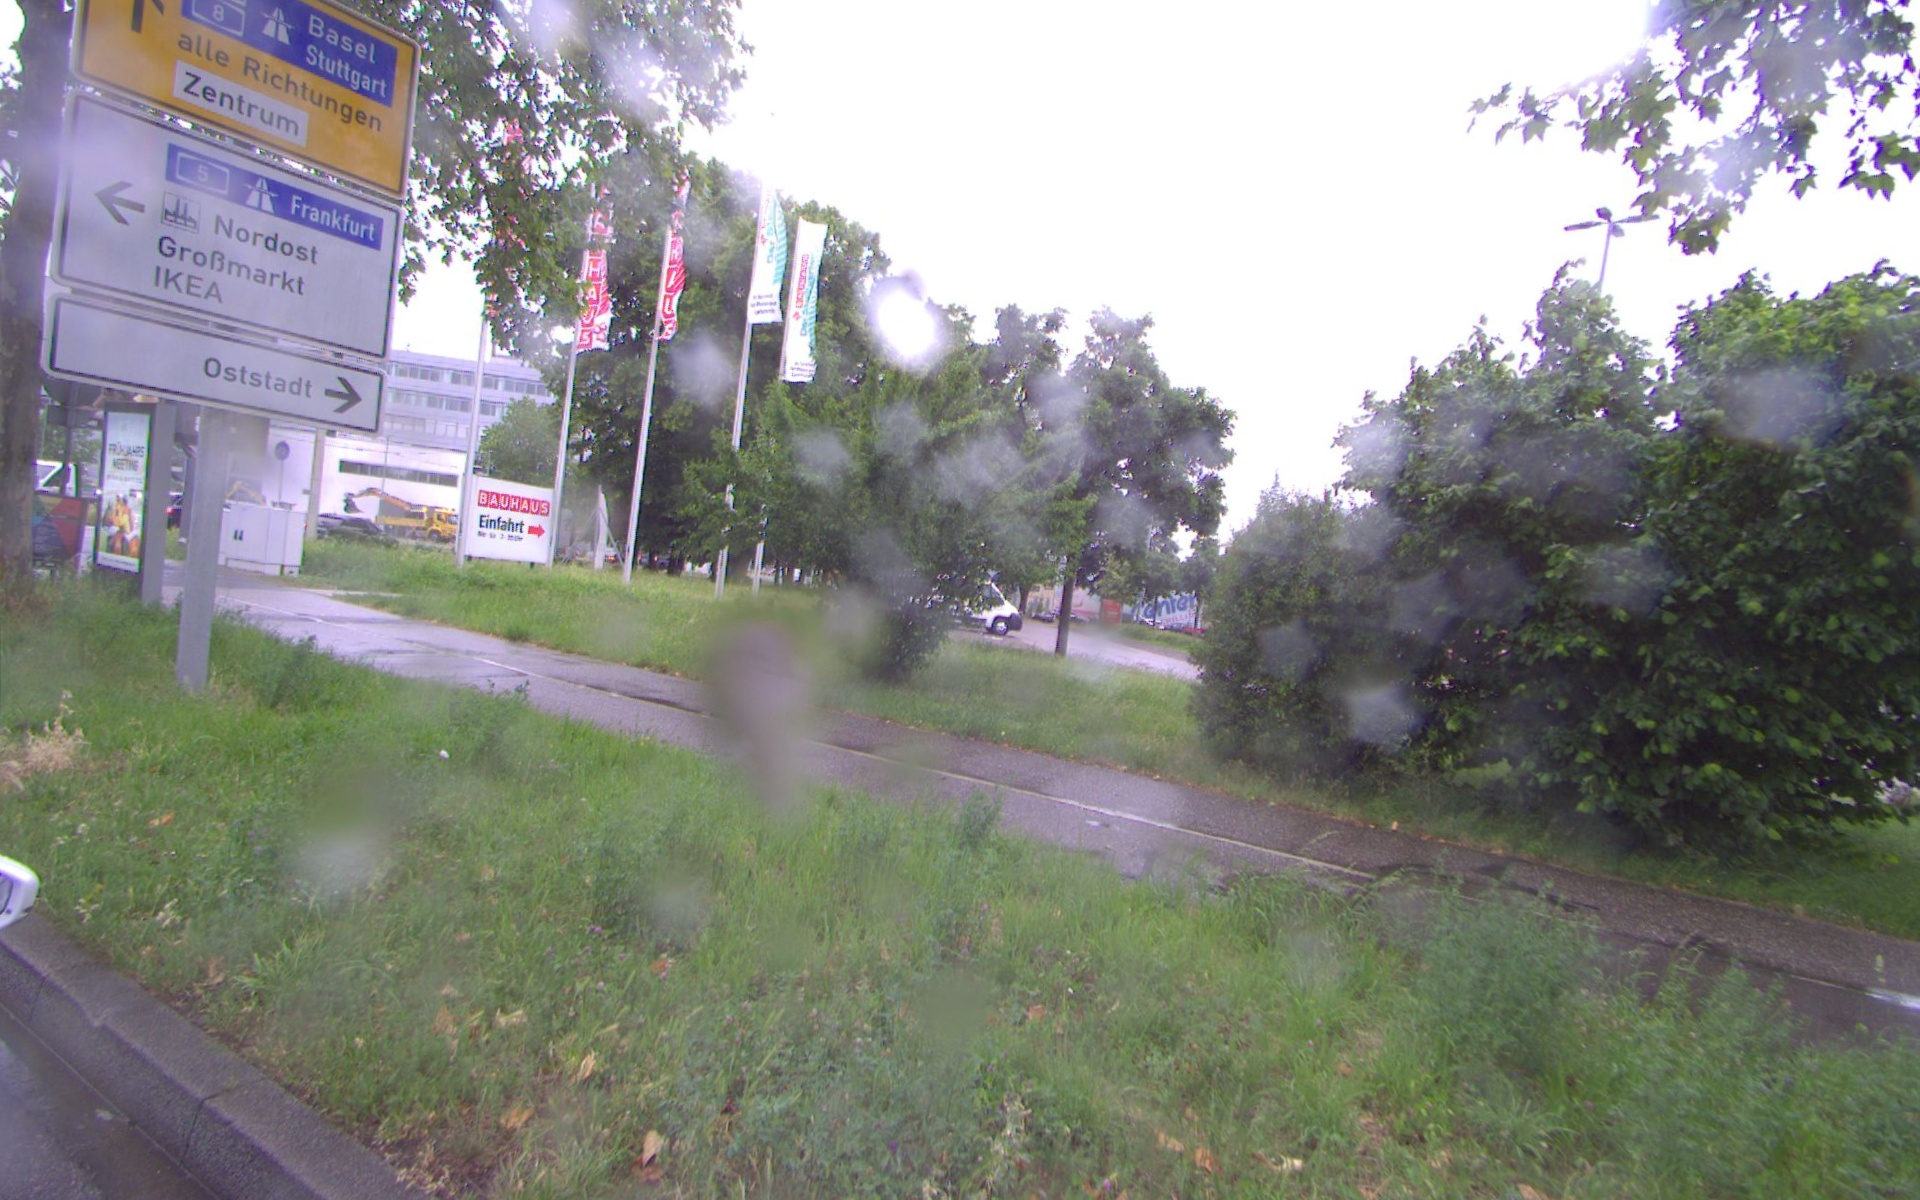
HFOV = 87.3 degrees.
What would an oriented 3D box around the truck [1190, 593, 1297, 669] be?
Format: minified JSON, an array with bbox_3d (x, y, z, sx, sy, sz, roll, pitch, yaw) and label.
[{"bbox_3d":[16.736,1.731,60.168,2.950,3.857,8.951,7,0,-4],"label":"truck"}]

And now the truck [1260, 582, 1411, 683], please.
[{"bbox_3d":[16.938,1.373,46.168,2.950,3.857,8.283,7,0,-4],"label":"truck"}]

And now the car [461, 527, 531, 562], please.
[{"bbox_3d":[-26.974,-3.199,58.633,1.768,1.556,4.387,7,0,3],"label":"car"}]

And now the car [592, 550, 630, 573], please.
[{"bbox_3d":[-29.323,-3.208,84.648,1.769,1.556,4.384,7,0,-4],"label":"car"}]

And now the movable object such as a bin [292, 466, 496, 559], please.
[{"bbox_3d":[-55.297,-8.389,99.039,14.695,6.356,8.270,7,-1,-2],"label":"movable object such as a bin"}]

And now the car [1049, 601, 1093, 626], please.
[{"bbox_3d":[11.188,1.383,101.373,4.085,2.037,2.001,7,-1,1],"label":"car"}]

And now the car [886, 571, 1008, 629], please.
[{"bbox_3d":[-0.801,0.017,57.884,6.702,2.464,2.327,7,0,-4],"label":"car"}]

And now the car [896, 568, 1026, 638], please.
[{"bbox_3d":[0.015,0.133,40.729,4.833,2.180,1.803,7,0,-9],"label":"car"}]

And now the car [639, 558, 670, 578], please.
[{"bbox_3d":[-28.940,-3.032,95.431,1.770,1.556,4.383,7,0,-4],"label":"car"}]

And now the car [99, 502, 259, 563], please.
[{"bbox_3d":[-26.414,-2.238,34.230,1.768,1.556,4.387,7,0,3],"label":"car"}]

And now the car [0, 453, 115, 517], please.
[{"bbox_3d":[-37.727,-4.741,41.641,1.769,2.220,4.380,6,2,-3],"label":"car"}]
